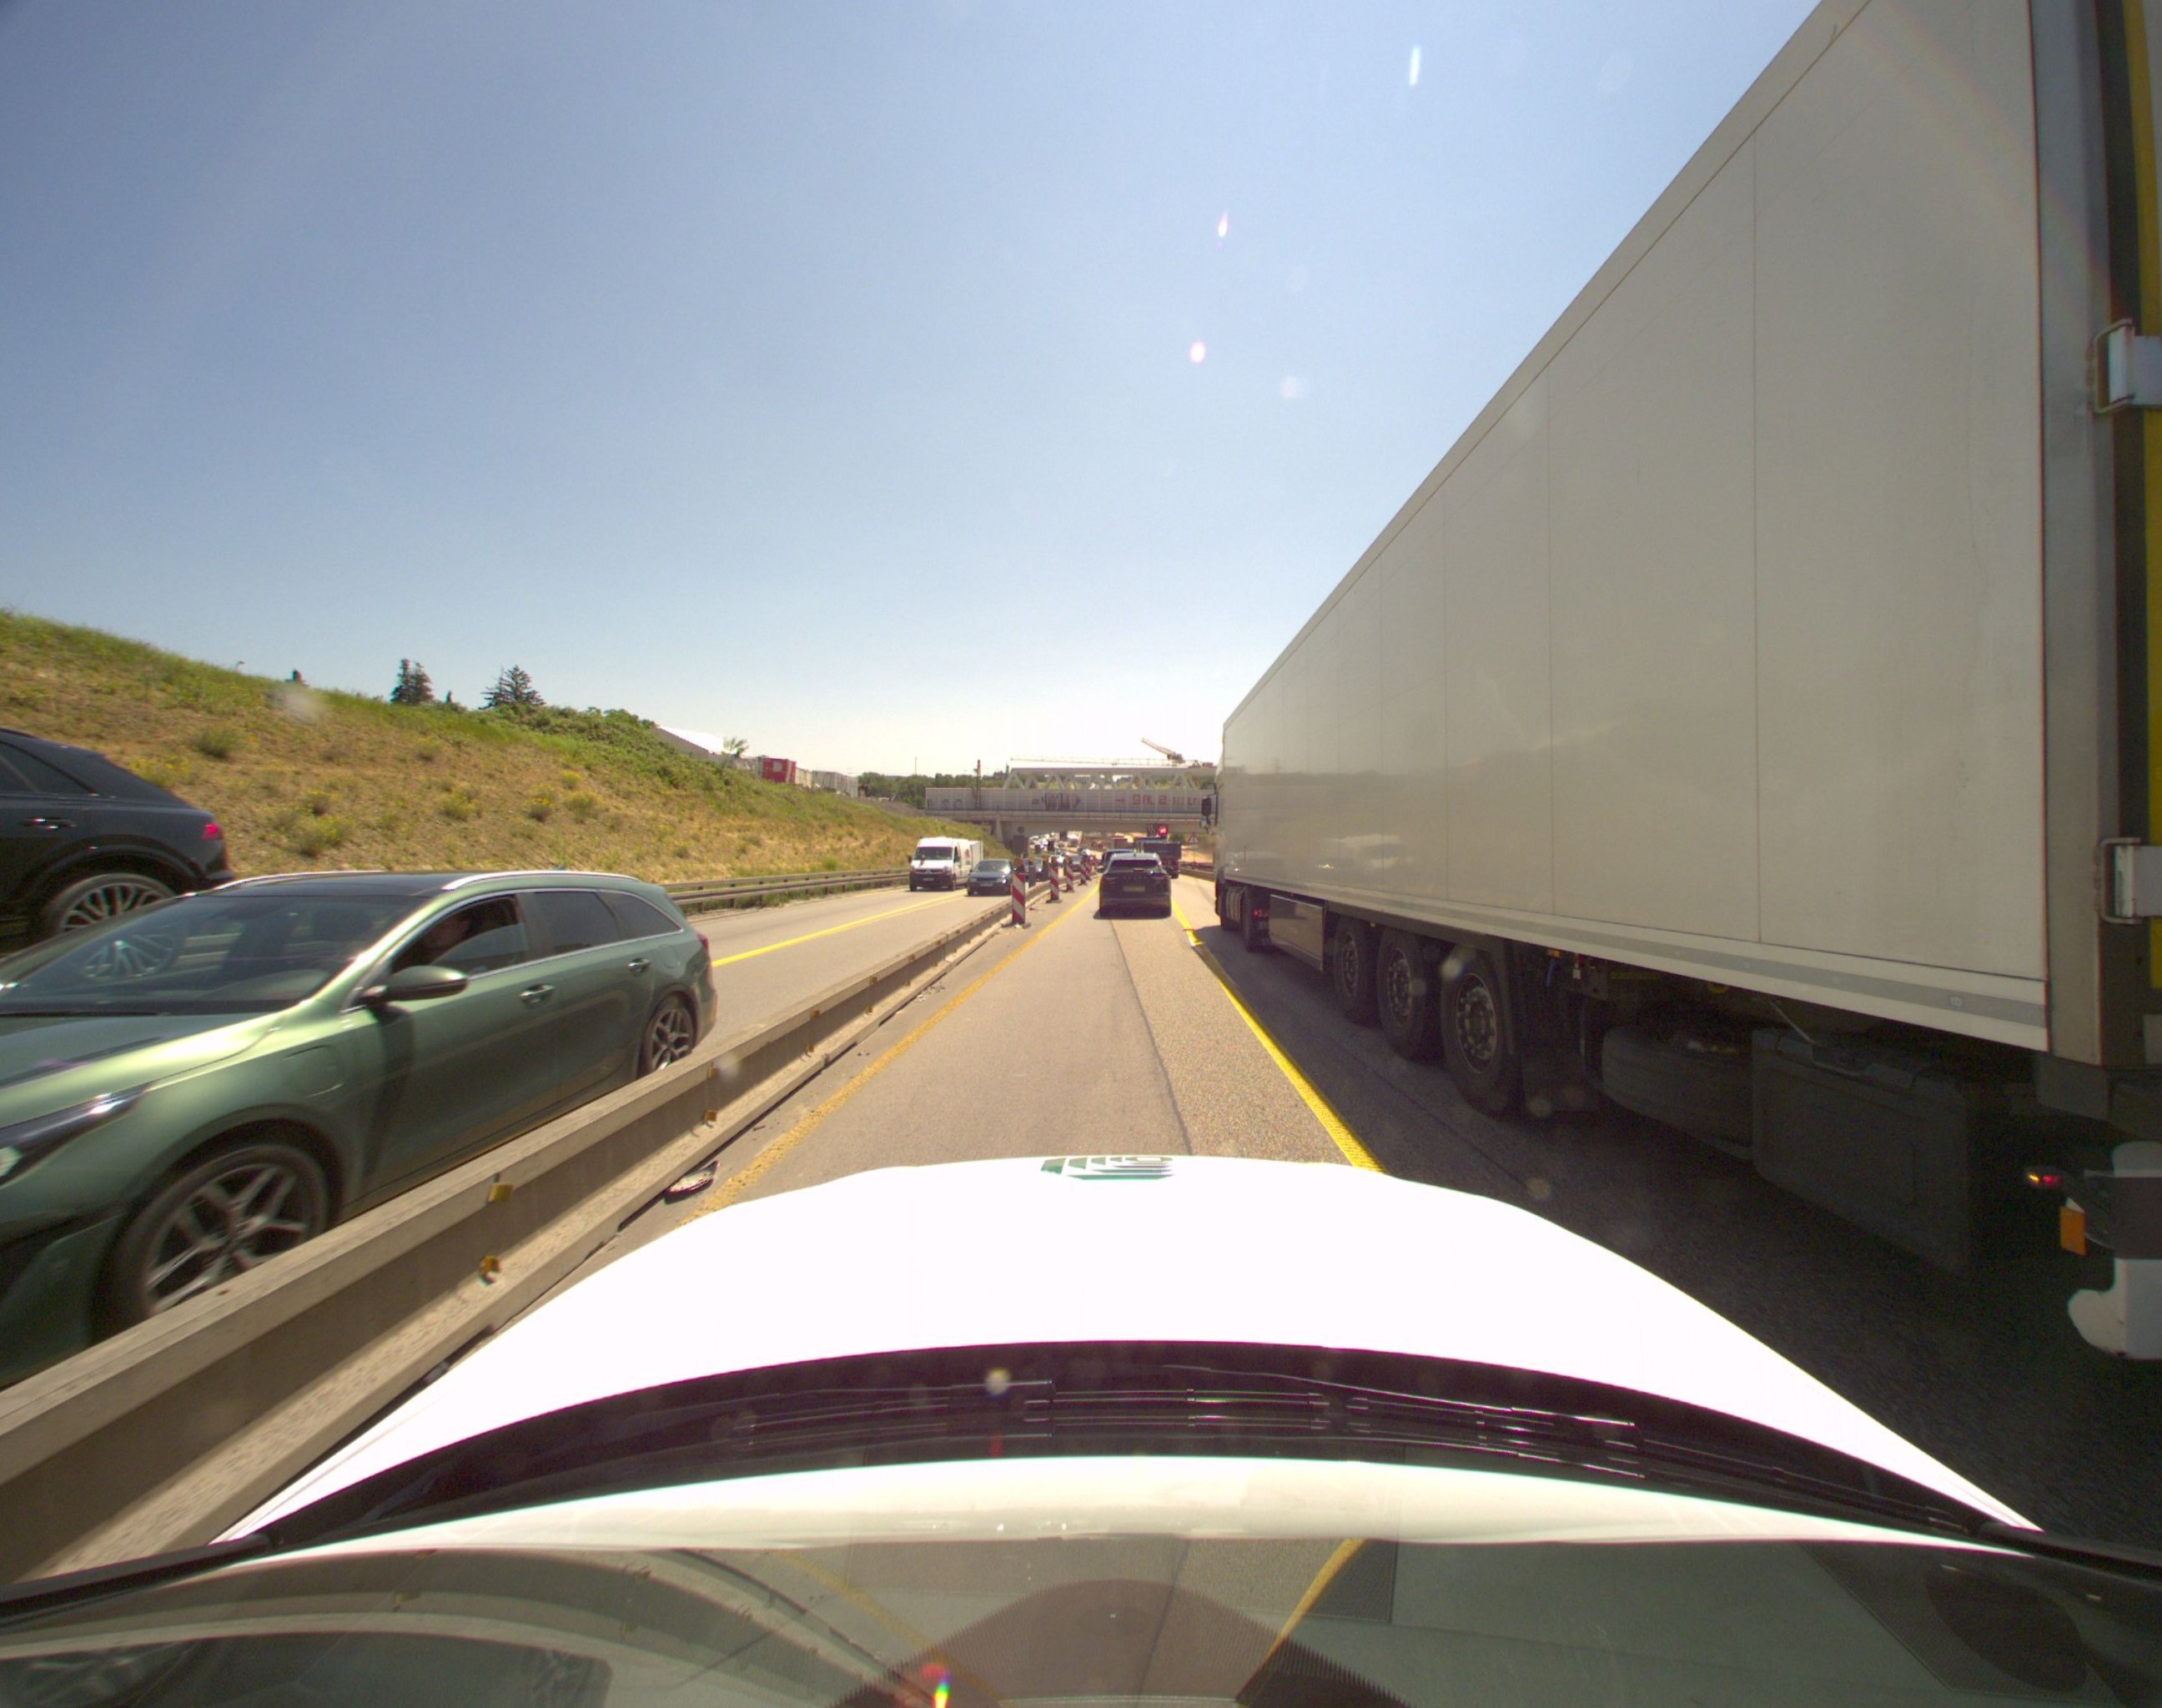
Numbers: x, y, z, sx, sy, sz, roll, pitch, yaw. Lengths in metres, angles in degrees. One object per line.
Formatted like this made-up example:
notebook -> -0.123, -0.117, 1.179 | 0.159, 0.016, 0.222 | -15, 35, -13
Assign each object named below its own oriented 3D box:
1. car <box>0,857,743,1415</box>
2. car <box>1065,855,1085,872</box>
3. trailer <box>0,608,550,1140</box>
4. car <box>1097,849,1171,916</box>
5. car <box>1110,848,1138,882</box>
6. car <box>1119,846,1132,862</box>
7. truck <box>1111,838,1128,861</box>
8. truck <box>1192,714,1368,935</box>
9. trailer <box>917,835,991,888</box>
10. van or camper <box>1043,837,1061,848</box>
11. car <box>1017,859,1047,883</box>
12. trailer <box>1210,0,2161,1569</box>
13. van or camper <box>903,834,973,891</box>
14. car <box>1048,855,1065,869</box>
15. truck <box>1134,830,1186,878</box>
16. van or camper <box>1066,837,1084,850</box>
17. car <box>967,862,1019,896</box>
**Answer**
car -> -3.426, 0.751, 4.116 | 1.660, 1.428, 4.001 | -1, 0, 1
car -> -0.495, 0.810, 68.631 | 1.495, 1.420, 3.178 | 0, 0, 2
trailer -> -6.999, 0.111, 2.372 | 2.260, 2.882, 13.042 | 0, 0, 1
car -> 1.330, 0.709, 21.418 | 1.794, 1.620, 3.298 | 0, 0, 1
car -> 2.411, 0.595, 45.442 | 1.468, 1.795, 3.301 | 2, 0, 4
car -> 6.754, 0.007, 122.892 | 1.656, 2.269, 3.795 | 1, 0, -1
truck -> 7.667, -0.857, 162.422 | 3.164, 4.318, 9.259 | 0, 0, 1
truck -> 4.006, -0.539, 17.483 | 2.765, 4.058, 4.908 | 0, 0, 3
trailer -> -6.353, 0.365, 41.974 | 2.207, 2.481, 8.531 | 0, 0, 2
van or camper -> -8.967, -3.442, 251.788 | 3.949, 3.419, 8.365 | 0, 1, -14
car -> -2.969, 0.999, 49.698 | 1.495, 1.420, 3.178 | 0, 0, 2
trailer -> 3.581, -0.555, 8.724 | 2.790, 4.058, 14.126 | 0, 0, 3
van or camper -> -6.519, 0.376, 37.703 | 2.207, 2.481, 4.753 | 0, 0, 2
car -> -3.082, 0.976, 103.445 | 1.784, 1.640, 3.851 | 3, 0, 2
truck -> 5.692, -0.020, 60.582 | 2.804, 3.135, 12.839 | 0, 0, 1
van or camper -> -1.740, -2.963, 232.248 | 3.944, 3.419, 8.377 | 0, 1, -10
car -> -3.489, 0.954, 32.671 | 1.604, 1.276, 3.168 | 0, 0, 2
